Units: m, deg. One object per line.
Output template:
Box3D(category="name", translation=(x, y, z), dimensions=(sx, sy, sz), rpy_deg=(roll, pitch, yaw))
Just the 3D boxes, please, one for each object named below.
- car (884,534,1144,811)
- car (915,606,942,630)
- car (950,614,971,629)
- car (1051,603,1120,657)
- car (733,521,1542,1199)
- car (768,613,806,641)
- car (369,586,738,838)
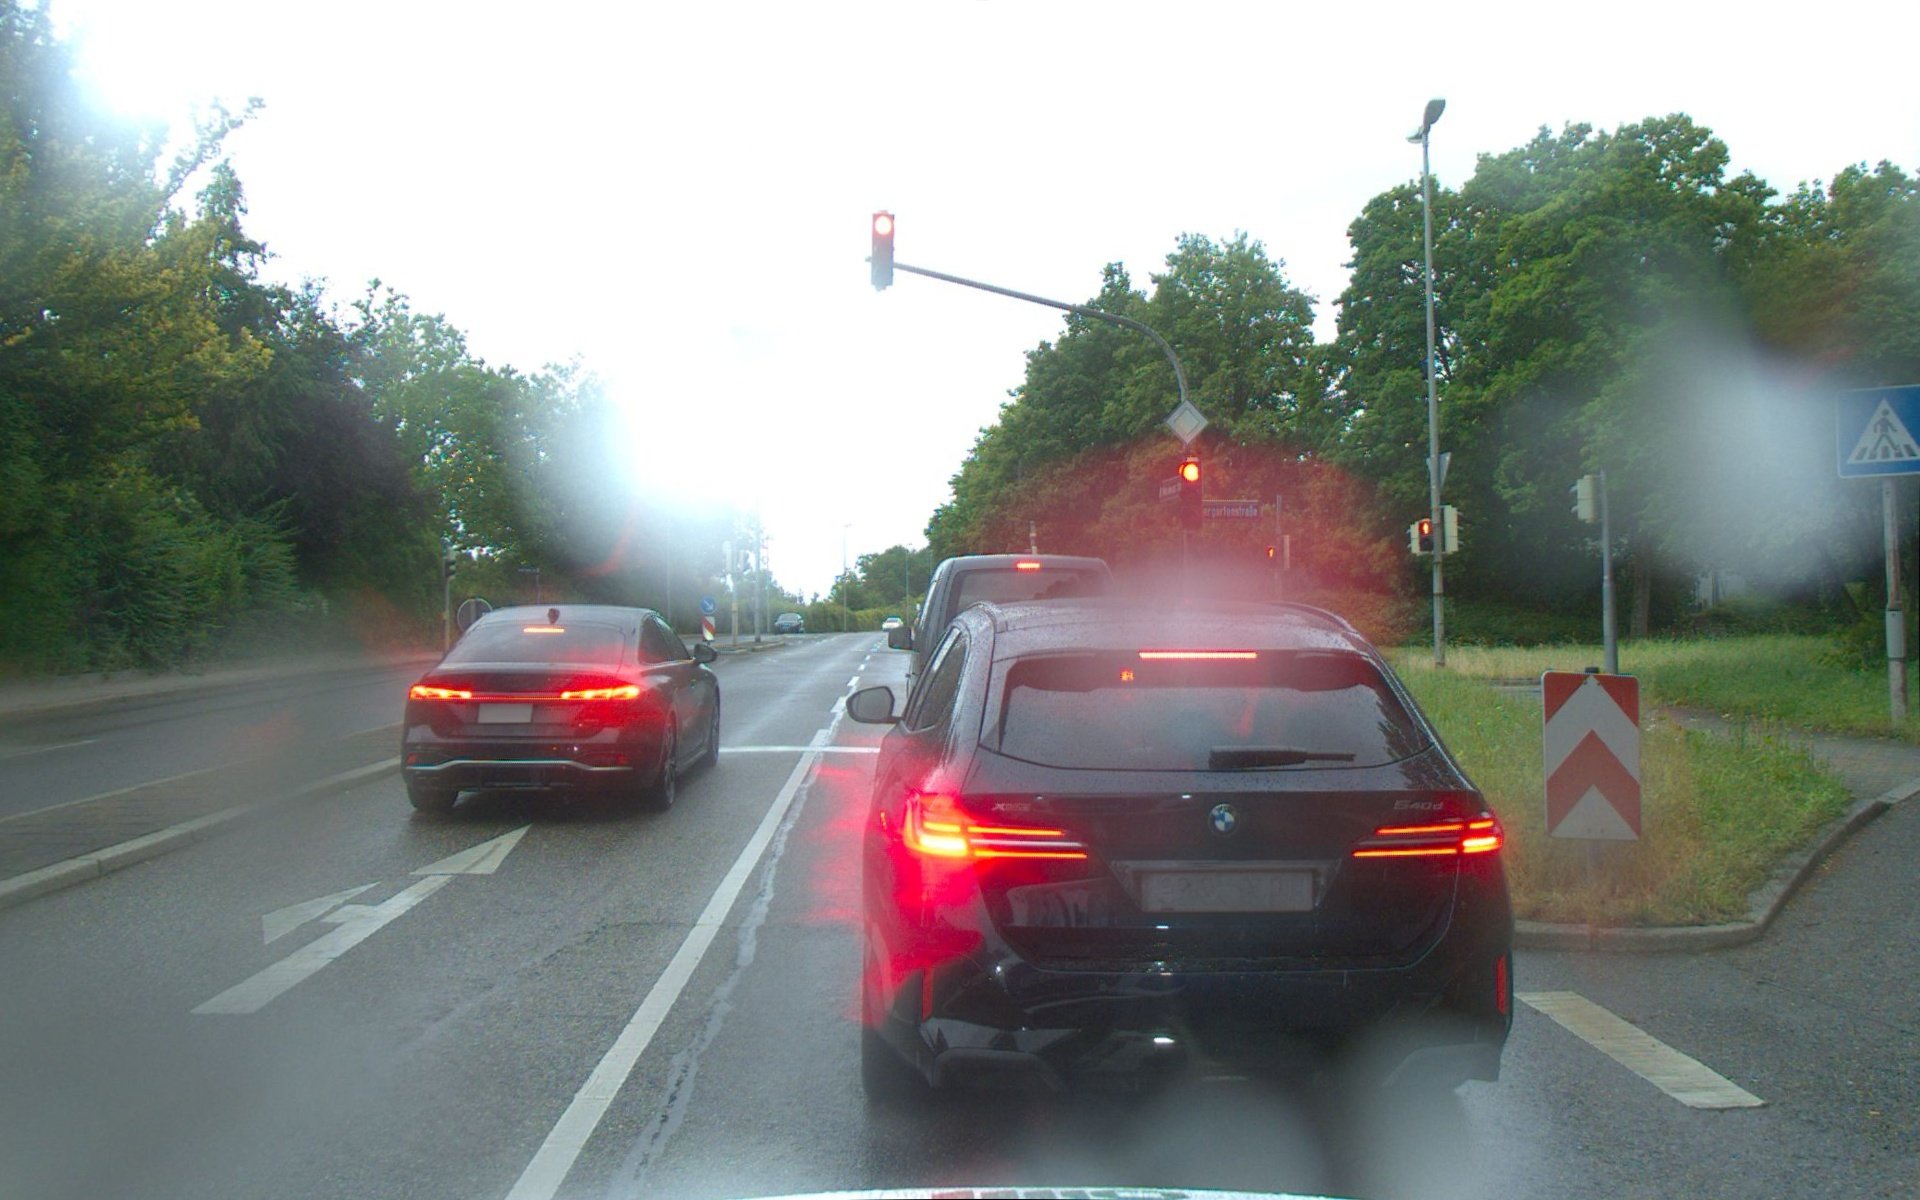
Box3D(category="car", translation=(0.362, 0.512, 13.368), dimensions=(1.781, 1.901, 3.952), rpy_deg=(0, 0, 0))
Box3D(category="car", translation=(-2.006, 1.143, 107.077), dimensions=(1.663, 1.452, 3.513), rpy_deg=(-2, 0, 0))
Box3D(category="car", translation=(0.038, 2.765, 209.252), dimensions=(2.061, 1.795, 4.871), rpy_deg=(-2, -1, 6))
Box3D(category="car", translation=(3.937, 0.927, 52.485), dimensions=(1.835, 1.569, 3.952), rpy_deg=(-2, 0, 0))
Box3D(category="car", translation=(0.514, 0.651, 6.133), dimensions=(1.858, 1.578, 4.616), rpy_deg=(0, -1, 3))
Box3D(category="car", translation=(-11.963, 1.862, 114.452), dimensions=(1.952, 1.858, 4.001), rpy_deg=(-2, -1, 3))
Box3D(category="car", translation=(-2.939, 0.745, 12.947), dimensions=(1.954, 1.554, 4.325), rpy_deg=(-2, 0, -3))
